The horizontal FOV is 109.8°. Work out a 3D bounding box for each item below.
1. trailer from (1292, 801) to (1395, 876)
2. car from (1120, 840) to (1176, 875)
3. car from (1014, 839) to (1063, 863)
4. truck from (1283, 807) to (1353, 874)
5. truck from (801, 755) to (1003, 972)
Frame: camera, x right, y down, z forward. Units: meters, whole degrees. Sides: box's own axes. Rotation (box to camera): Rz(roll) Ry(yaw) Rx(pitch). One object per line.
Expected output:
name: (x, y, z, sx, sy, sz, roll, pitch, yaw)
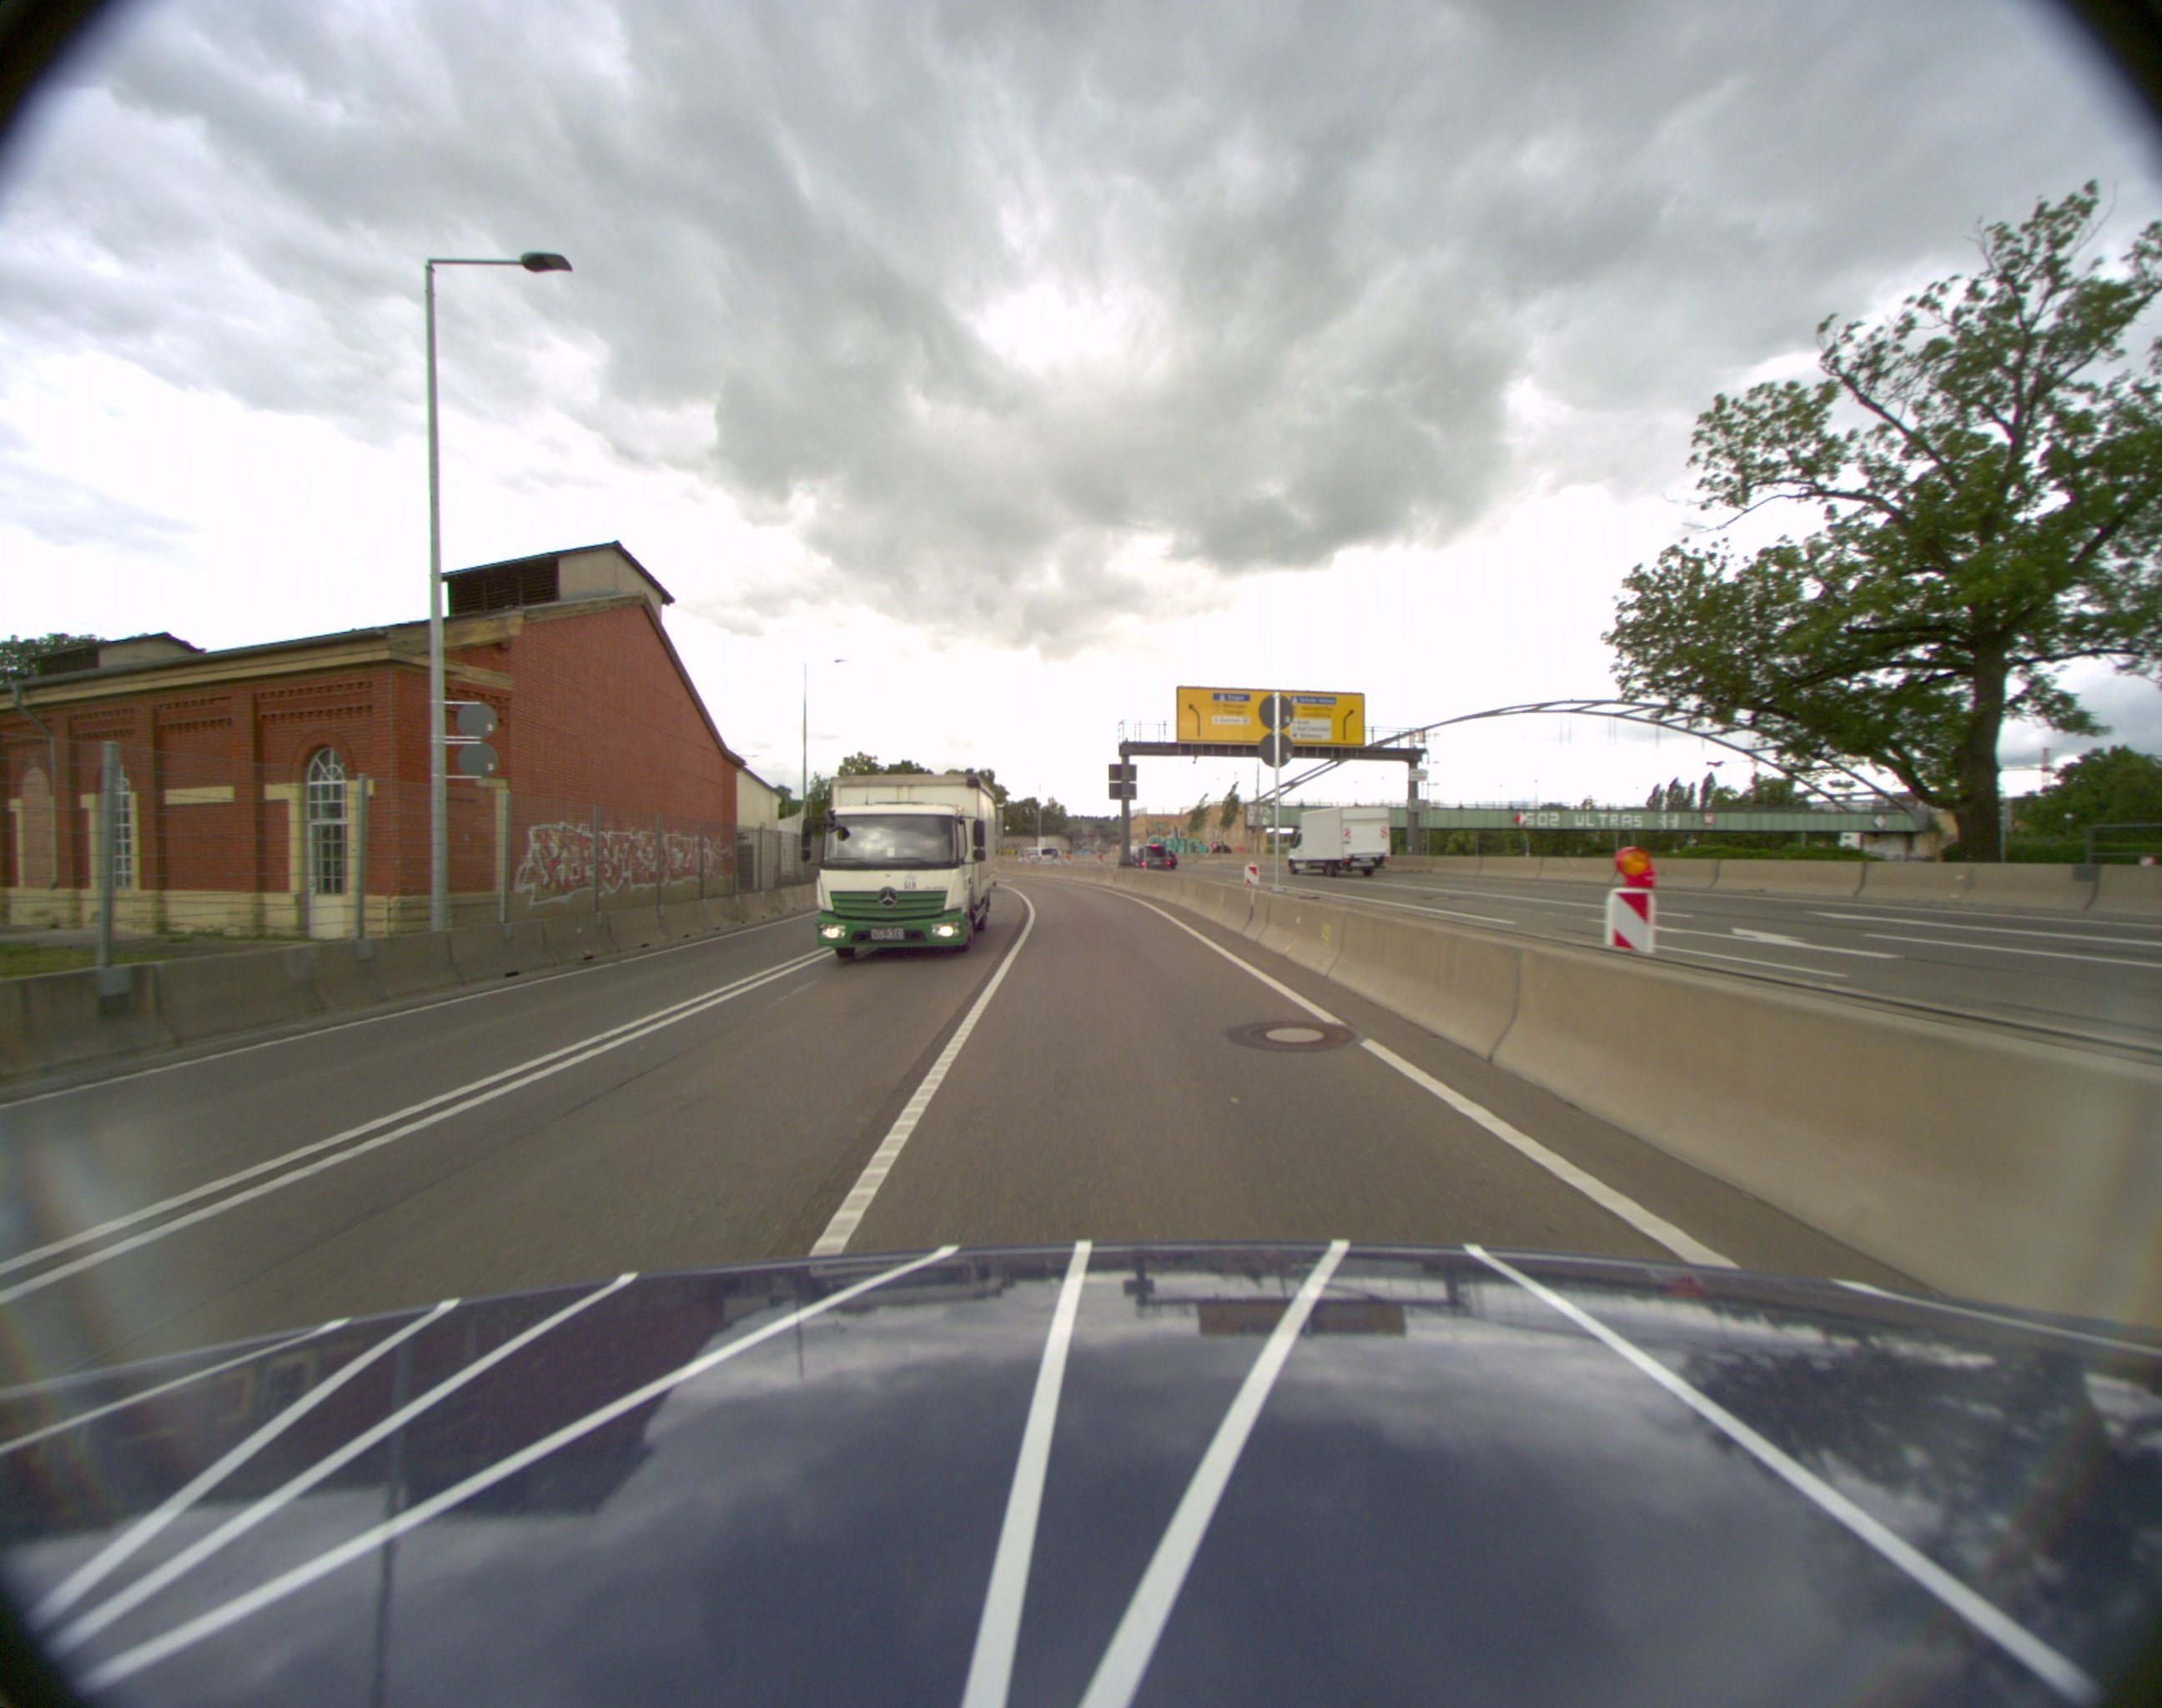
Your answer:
trailer: (11.948, -0.689, 35.102, 2.279, 3.120, 5.708, -2, 1, -5)
car: (3.668, 0.195, 42.599, 1.908, 1.795, 4.950, -1, 0, -10)
car: (-3.522, -0.243, 61.833, 1.960, 1.796, 5.781, -3, 1, -24)
truck: (11.678, -0.662, 37.684, 2.279, 3.096, 2.985, -2, 1, -5)
truck: (-3.068, 0.139, 15.193, 2.637, 3.220, 7.413, -2, 0, -4)
